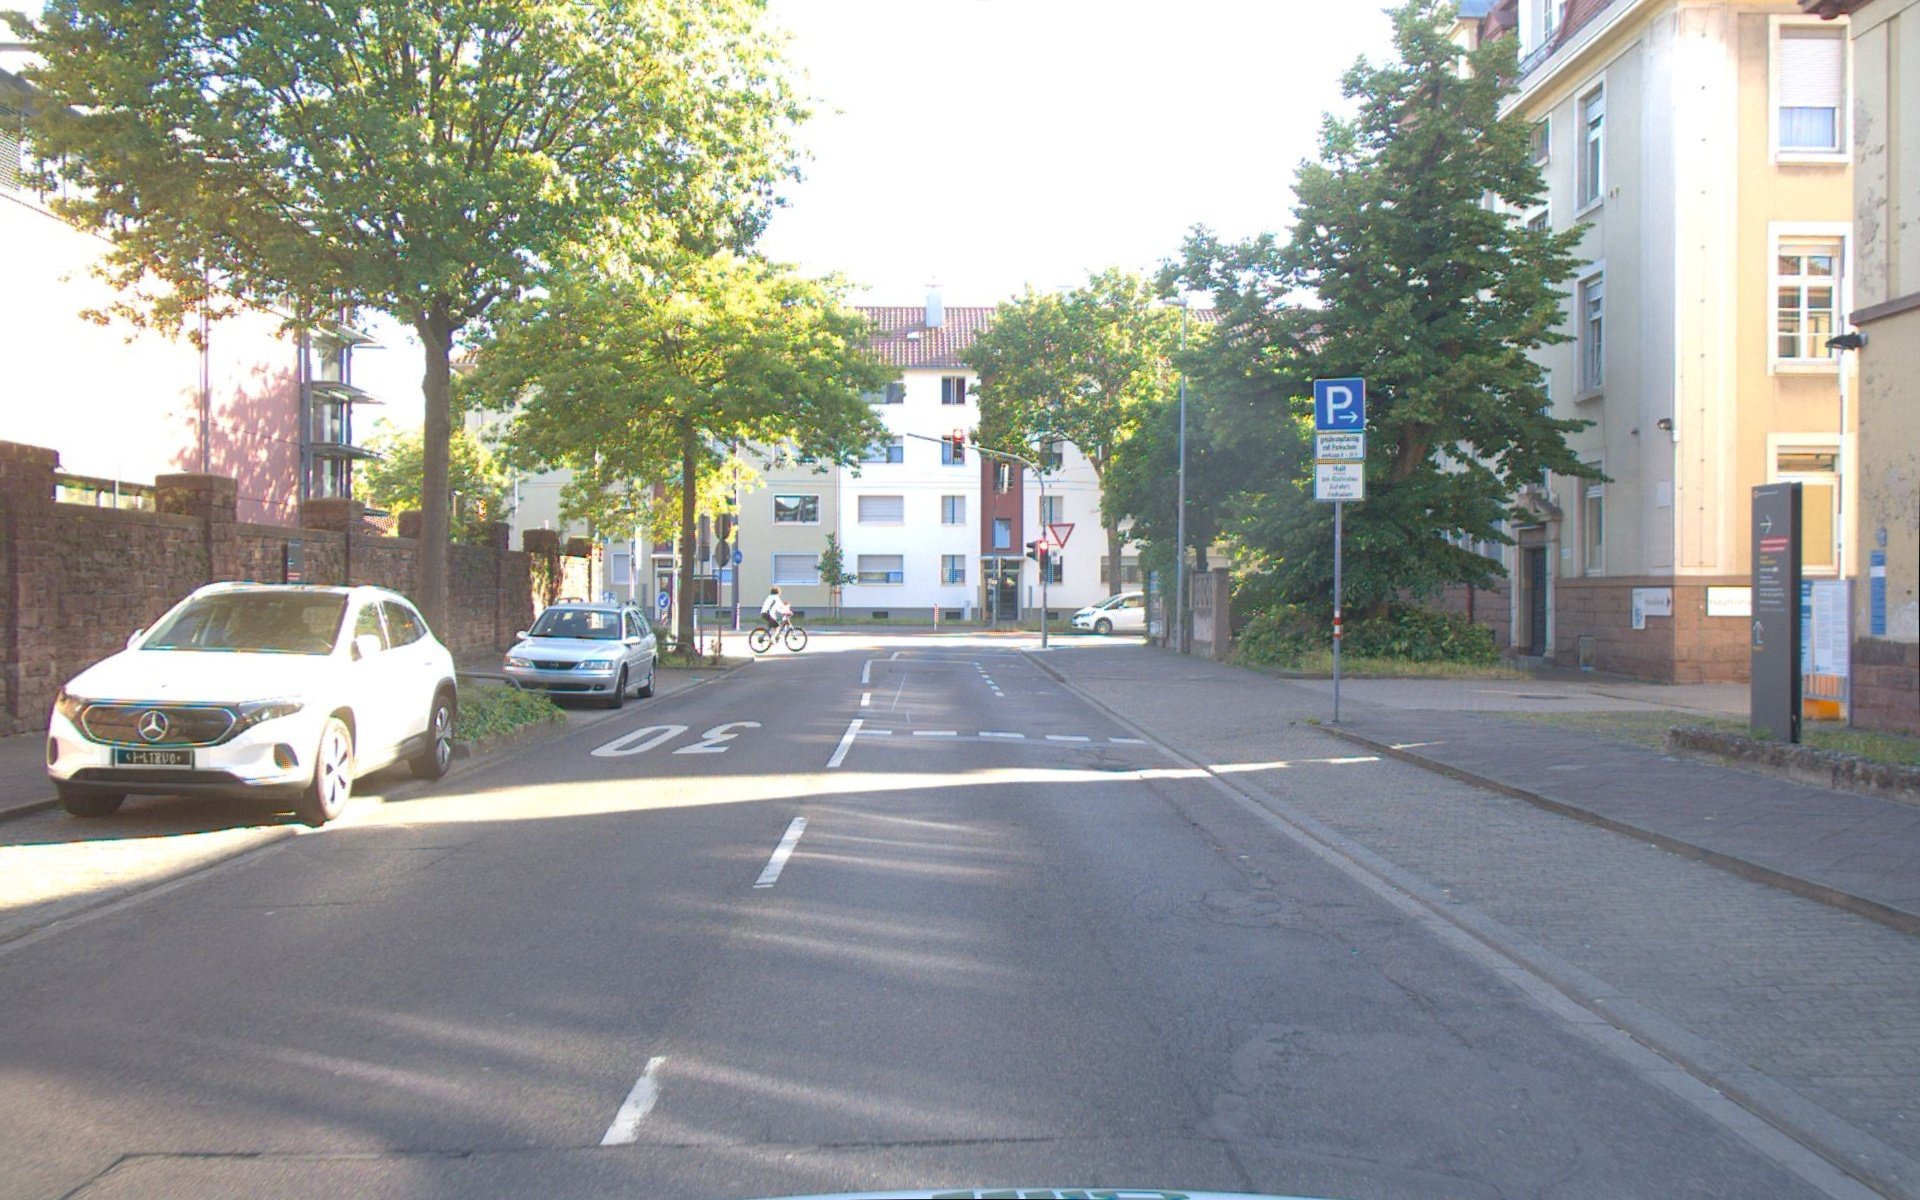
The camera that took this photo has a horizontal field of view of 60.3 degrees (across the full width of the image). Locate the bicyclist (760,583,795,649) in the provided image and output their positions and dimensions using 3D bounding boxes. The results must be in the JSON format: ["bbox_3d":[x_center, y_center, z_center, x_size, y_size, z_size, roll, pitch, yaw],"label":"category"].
[{"bbox_3d":[-4.978,0.432,45.175,0.777,1.788,0.607,0,0,-28],"label":"bicyclist"}]

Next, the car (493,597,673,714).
[{"bbox_3d":[-5.452,0.743,24.456,1.691,1.501,4.477,2,0,-2],"label":"car"}]

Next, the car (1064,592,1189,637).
[{"bbox_3d":[6.618,0.569,65.919,4.582,1.770,1.993,0,0,-14],"label":"car"}]

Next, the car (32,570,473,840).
[{"bbox_3d":[-5.149,0.659,12.727,1.685,1.713,4.349,0,0,-3],"label":"car"}]

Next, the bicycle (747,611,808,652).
[{"bbox_3d":[-4.981,0.865,45.197,1.664,1.099,0.348,0,0,-28],"label":"bicycle"}]
